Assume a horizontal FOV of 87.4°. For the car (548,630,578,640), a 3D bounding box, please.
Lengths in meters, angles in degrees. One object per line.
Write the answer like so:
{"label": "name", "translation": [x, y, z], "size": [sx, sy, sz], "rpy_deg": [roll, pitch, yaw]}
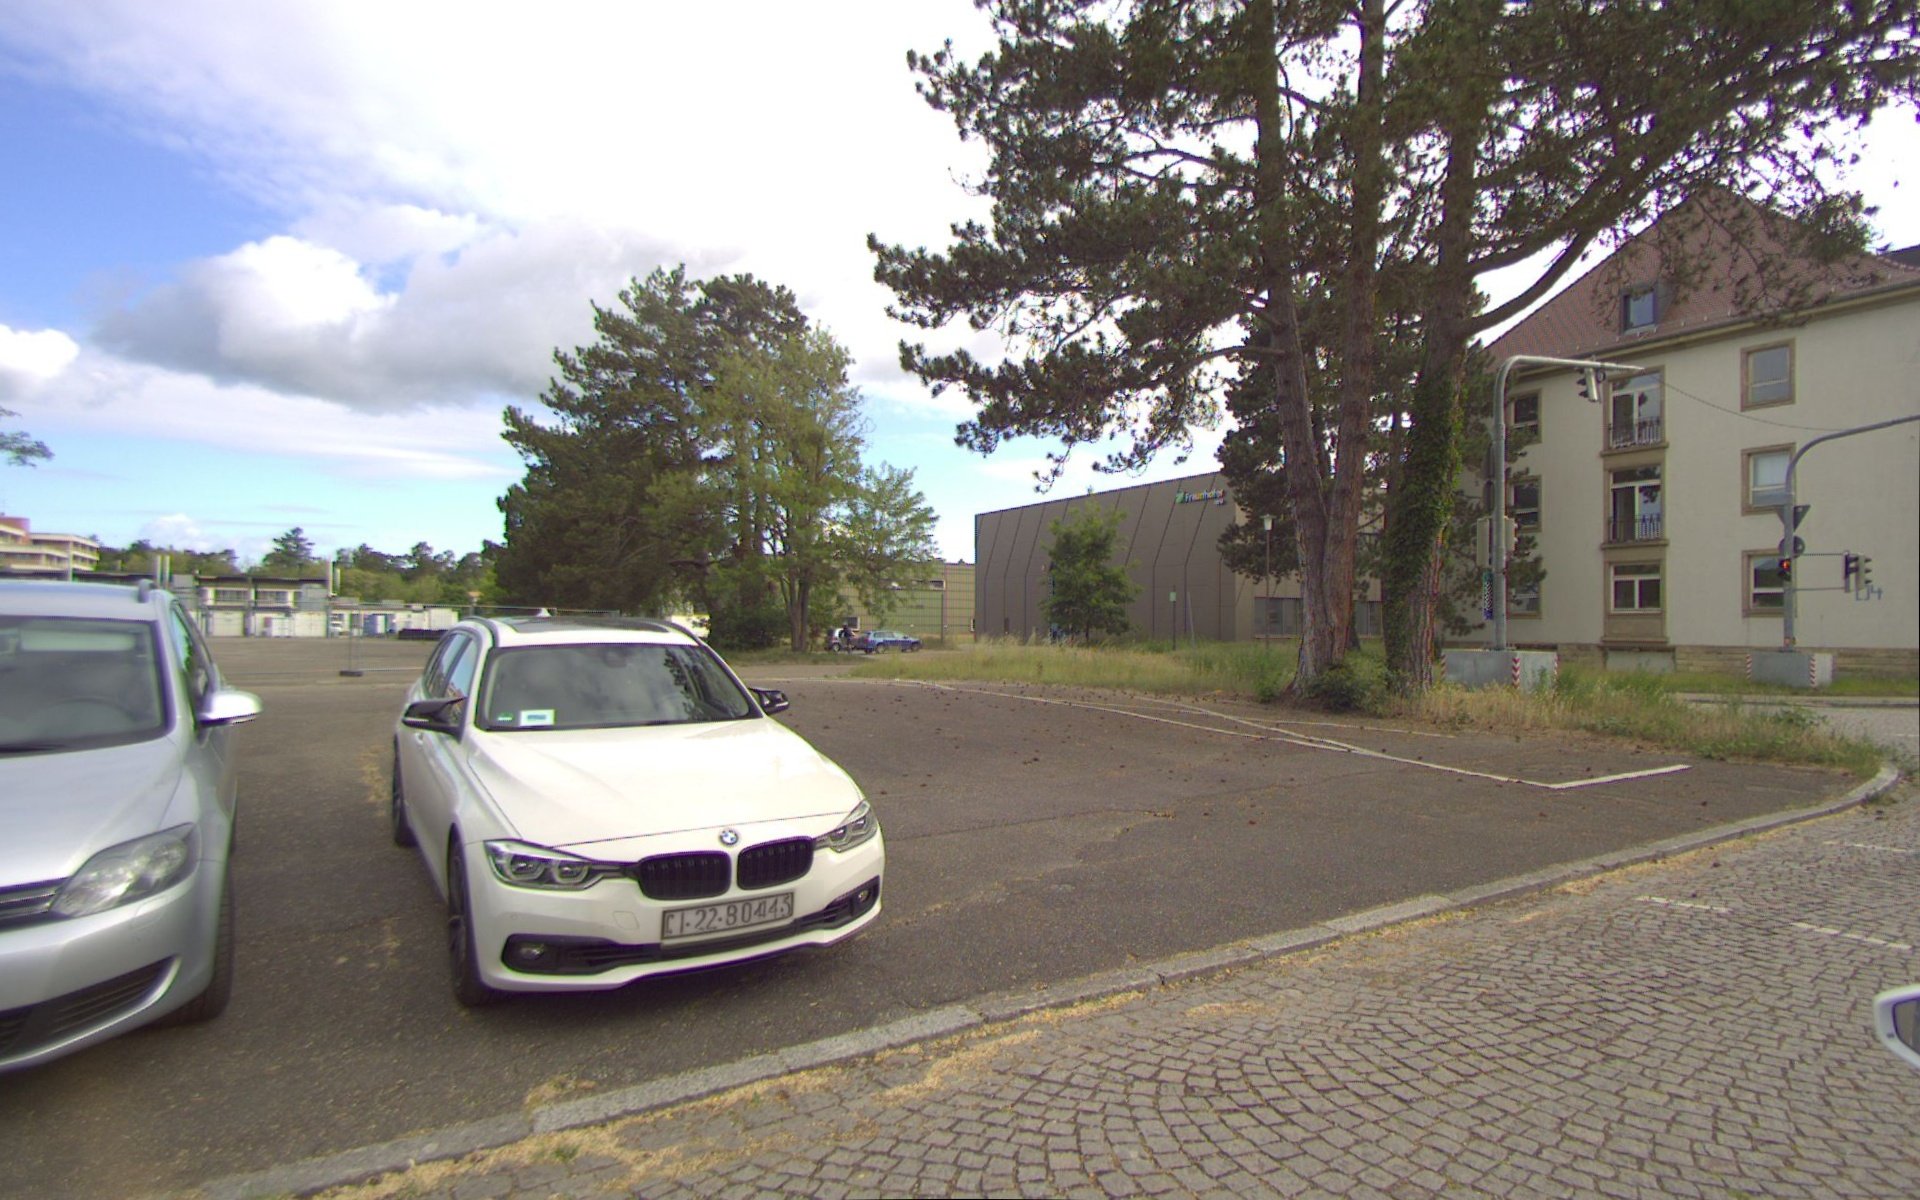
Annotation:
{"label": "car", "translation": [-65.927, 5.800, 166.785], "size": [4.285, 1.569, 1.984], "rpy_deg": [1, -2, -30]}

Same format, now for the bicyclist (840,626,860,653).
{"label": "bicyclist", "translation": [-6.427, 2.289, 58.600], "size": [0.891, 1.562, 0.860], "rpy_deg": [2, -1, -32]}

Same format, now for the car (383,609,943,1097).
{"label": "car", "translation": [-2.114, 0.848, 5.762], "size": [1.847, 1.508, 4.711], "rpy_deg": [0, 0, -33]}

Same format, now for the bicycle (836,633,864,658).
{"label": "bicycle", "translation": [-6.445, 2.659, 58.635], "size": [0.817, 1.395, 2.024], "rpy_deg": [2, -1, -32]}

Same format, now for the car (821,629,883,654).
{"label": "car", "translation": [-7.718, 2.944, 71.815], "size": [4.077, 1.593, 1.749], "rpy_deg": [-1, -1, -34]}

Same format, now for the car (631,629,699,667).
{"label": "car", "translation": [-12.624, 2.005, 42.854], "size": [1.716, 1.451, 4.125], "rpy_deg": [2, -1, -32]}

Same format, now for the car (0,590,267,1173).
{"label": "car", "translation": [-4.227, 0.777, 4.380], "size": [1.855, 1.619, 4.332], "rpy_deg": [1, 0, -36]}

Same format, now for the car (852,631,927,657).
{"label": "car", "translation": [-4.549, 2.820, 65.085], "size": [4.448, 1.482, 1.917], "rpy_deg": [-1, -1, -34]}
